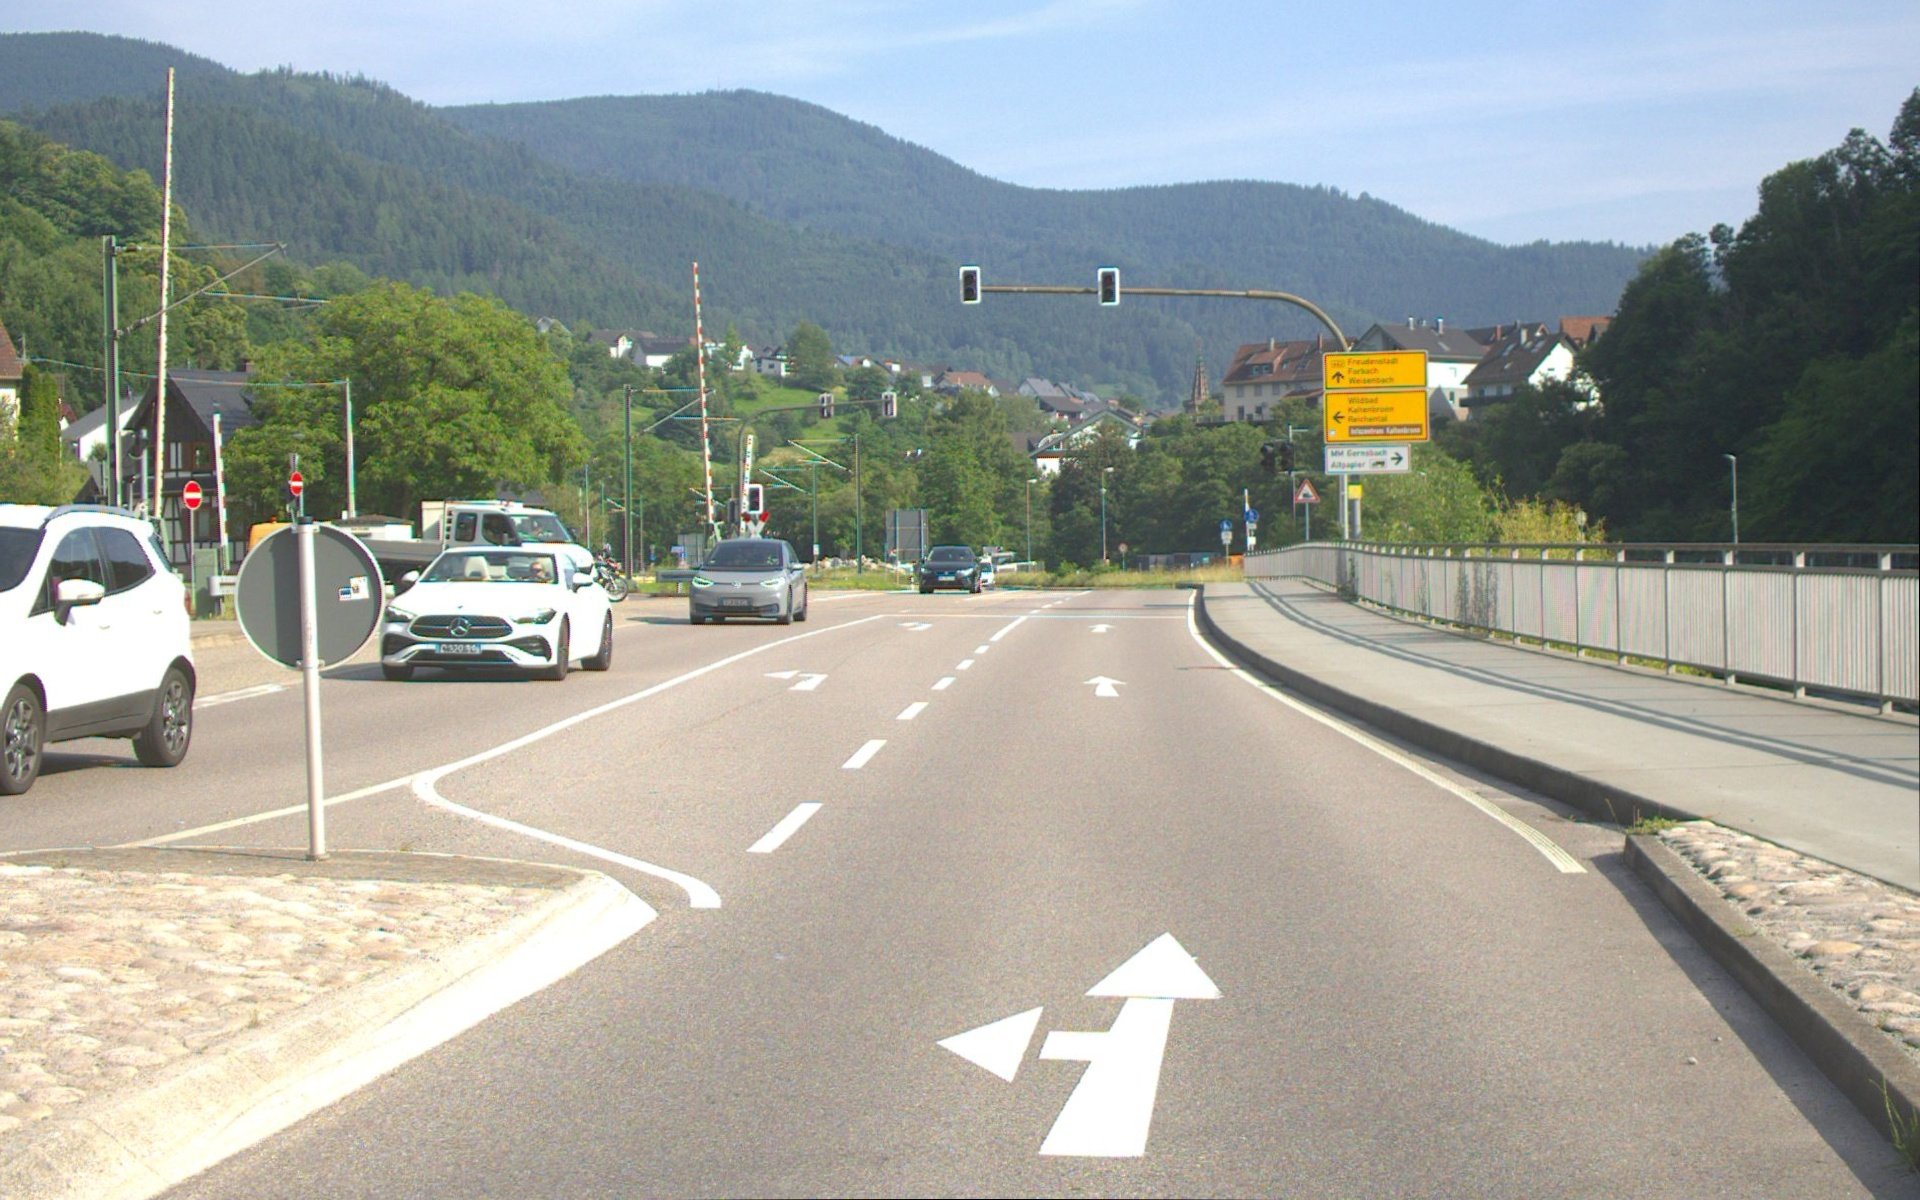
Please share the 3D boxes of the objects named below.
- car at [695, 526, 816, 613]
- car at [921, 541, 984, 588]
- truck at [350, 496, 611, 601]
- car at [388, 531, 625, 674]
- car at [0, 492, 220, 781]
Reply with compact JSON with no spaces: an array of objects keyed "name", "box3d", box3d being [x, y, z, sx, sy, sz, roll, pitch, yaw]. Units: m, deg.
[{"name":"car","box3d":[-3.676,-0.574,62.319,1.758,1.516,4.204,0,1,3]},{"name":"car","box3d":[-0.210,-1.085,104.894,1.773,1.412,3.785,0,1,2]},{"name":"truck","box3d":[-10.859,-1.185,77.687,5.995,2.259,1.996,2,0,34]},{"name":"car","box3d":[-4.773,-0.020,36.791,1.782,1.395,4.827,1,1,1]},{"name":"car","box3d":[-5.859,0.183,20.244,1.764,1.555,3.999,1,0,6]}]
